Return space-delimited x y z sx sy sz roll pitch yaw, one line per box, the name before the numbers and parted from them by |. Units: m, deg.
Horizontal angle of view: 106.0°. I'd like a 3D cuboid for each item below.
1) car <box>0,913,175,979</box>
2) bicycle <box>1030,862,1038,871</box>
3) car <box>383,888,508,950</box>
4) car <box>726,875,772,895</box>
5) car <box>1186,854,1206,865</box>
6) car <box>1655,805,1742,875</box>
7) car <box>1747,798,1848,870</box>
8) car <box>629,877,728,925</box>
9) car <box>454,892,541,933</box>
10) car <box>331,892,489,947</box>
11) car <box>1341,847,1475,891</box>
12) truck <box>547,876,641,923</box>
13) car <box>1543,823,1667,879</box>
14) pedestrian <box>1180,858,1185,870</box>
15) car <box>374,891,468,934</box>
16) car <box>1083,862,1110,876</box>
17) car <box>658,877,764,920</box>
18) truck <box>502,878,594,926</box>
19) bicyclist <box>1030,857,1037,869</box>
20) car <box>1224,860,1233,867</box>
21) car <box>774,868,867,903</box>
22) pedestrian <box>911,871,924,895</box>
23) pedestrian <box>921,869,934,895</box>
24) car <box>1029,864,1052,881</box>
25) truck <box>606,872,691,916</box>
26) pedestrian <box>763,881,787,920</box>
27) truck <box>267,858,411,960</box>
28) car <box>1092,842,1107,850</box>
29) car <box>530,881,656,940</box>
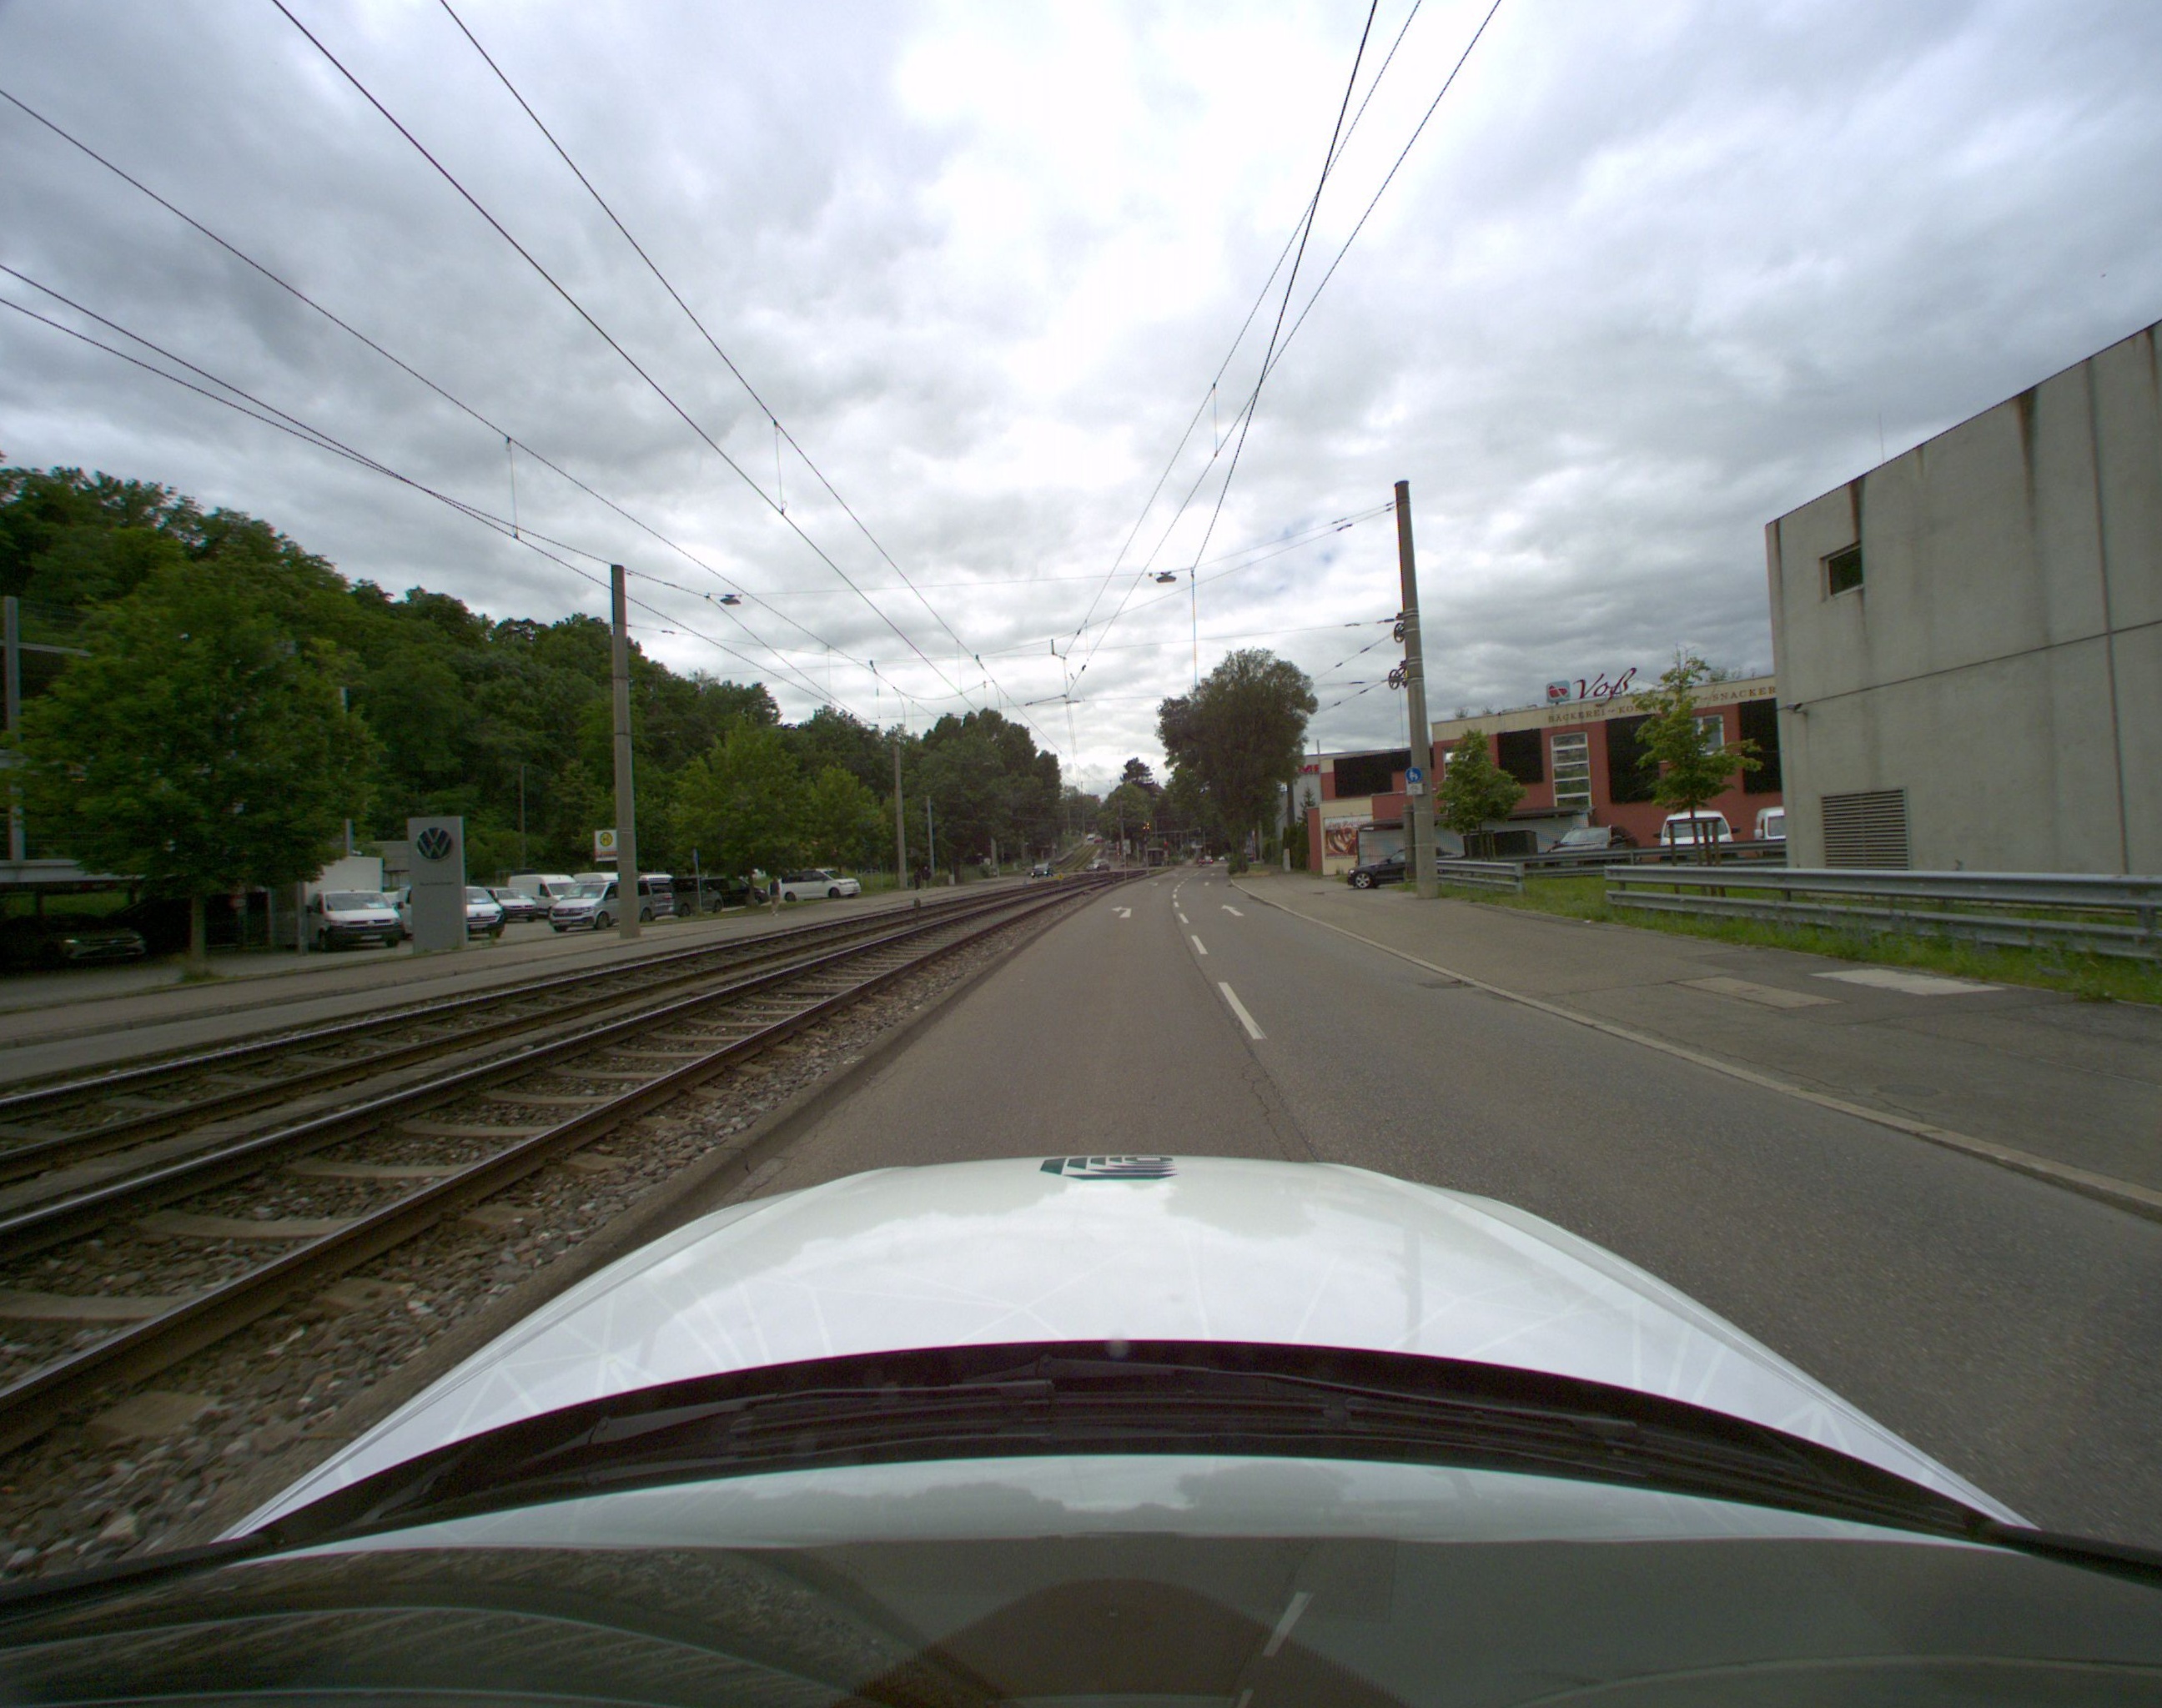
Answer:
car | -29.833 2.724 24.134 4.097 1.618 2.005 -3 -1 9
bicycle | -7.820 2.124 134.965 0.825 1.343 2.983 -3 -1 -13
car | -23.460 2.421 30.029 4.669 2.013 2.013 -4 -1 31
car | -38.614 3.607 94.786 1.974 2.014 4.432 -3 -1 35
car | 16.825 0.831 118.891 1.976 1.515 4.524 -2 -1 21
car | 18.605 -0.422 24.620 1.836 1.832 4.571 -4 -1 36
car | 20.837 -0.587 23.856 1.794 1.832 4.470 -4 -1 37
car | -19.670 2.245 40.078 1.985 2.013 5.133 -3 -1 3
car | -32.431 3.243 45.289 3.952 2.014 2.011 -3 -1 21
car | -27.122 2.612 33.092 1.974 1.831 4.496 -4 -1 31
car | 11.787 0.549 29.396 4.179 1.443 1.774 -2 0 32
truck | -31.063 2.910 51.917 5.704 2.588 2.484 -4 -1 29
car | 17.051 -0.109 26.408 4.545 1.548 2.135 -3 -1 -41
pedestrian | 16.272 1.657 130.706 0.764 1.852 0.912 -3 -2 7
car | -35.382 3.126 43.661 4.216 2.014 1.991 -4 -1 21
car | 2.041 1.916 105.702 1.874 1.532 4.279 -7 -1 21
car | -20.676 2.446 45.555 5.091 2.013 2.144 -3 -1 -33
truck | -31.972 2.876 48.820 5.007 2.588 2.484 -4 -1 29
bicyclist | -7.832 1.515 134.838 0.822 1.849 1.046 -3 -1 -14
car | 39.174 2.440 216.562 1.983 1.816 4.008 -3 -1 7
car | -15.932 1.956 49.762 5.015 1.888 2.176 -3 -3 18
pedestrian | -12.053 2.133 59.979 0.624 1.713 0.857 -2 -1 7
pedestrian | -11.296 2.061 59.903 0.673 1.813 0.857 -2 -1 7
car | -4.300 1.970 86.884 1.679 1.532 4.261 -6 -1 4
truck | -28.647 2.676 53.920 5.007 2.588 2.484 -4 -1 29
pedestrian | -13.674 2.064 36.395 0.716 1.656 1.041 -1 -1 -3
truck | -25.274 1.870 27.669 5.861 3.085 2.133 -4 -1 33
car | 5.573 -2.501 248.854 3.957 2.014 2.008 -4 -1 15
car | -20.025 2.253 33.751 1.986 2.013 4.922 -3 -1 2
